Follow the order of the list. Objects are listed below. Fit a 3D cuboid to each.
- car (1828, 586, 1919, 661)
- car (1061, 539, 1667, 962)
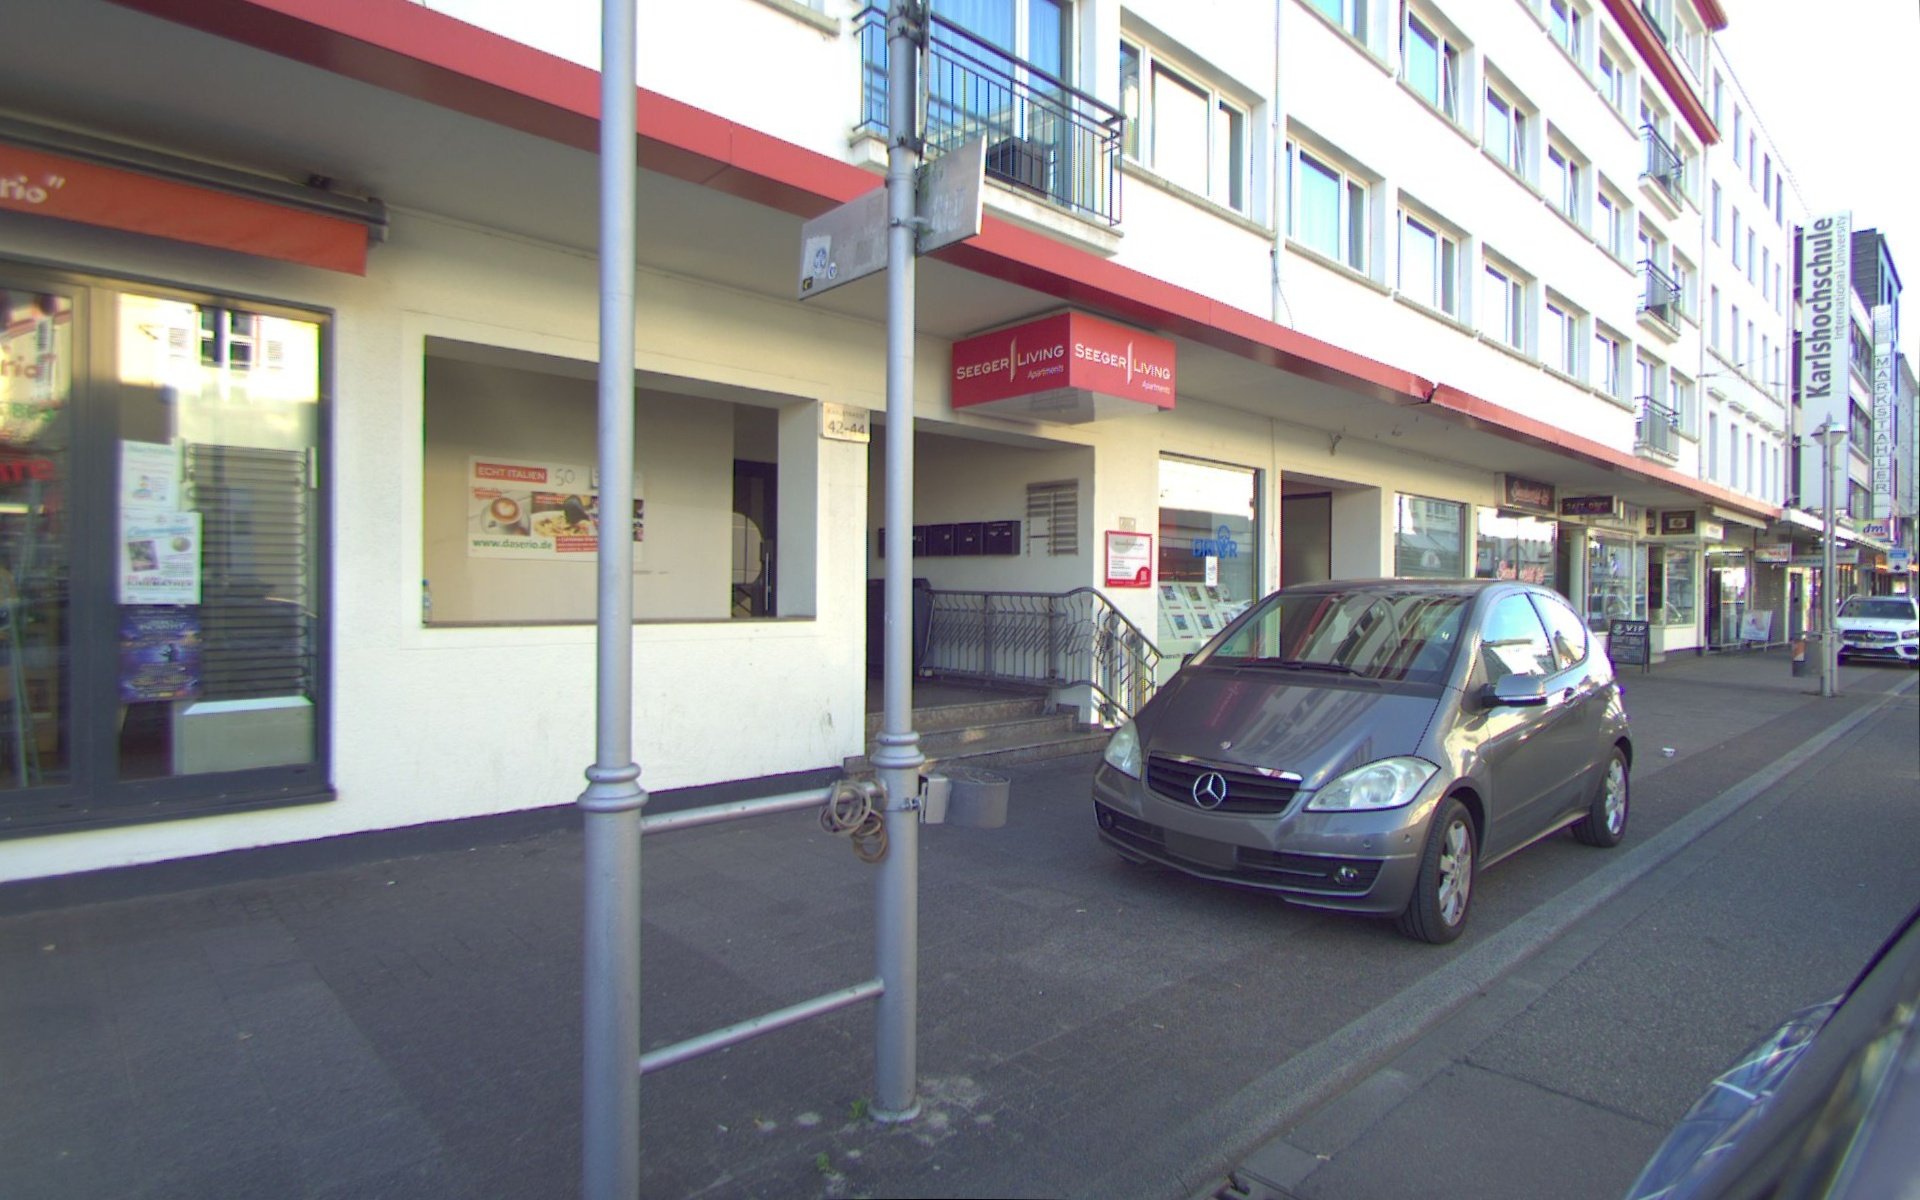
[{"bbox_3d":[22.392,0.512,24.352,1.994,1.650,3.935,1,1,45],"label":"car"},{"bbox_3d":[2.500,0.559,5.721,3.932,1.565,1.681,0,0,-43],"label":"car"}]
